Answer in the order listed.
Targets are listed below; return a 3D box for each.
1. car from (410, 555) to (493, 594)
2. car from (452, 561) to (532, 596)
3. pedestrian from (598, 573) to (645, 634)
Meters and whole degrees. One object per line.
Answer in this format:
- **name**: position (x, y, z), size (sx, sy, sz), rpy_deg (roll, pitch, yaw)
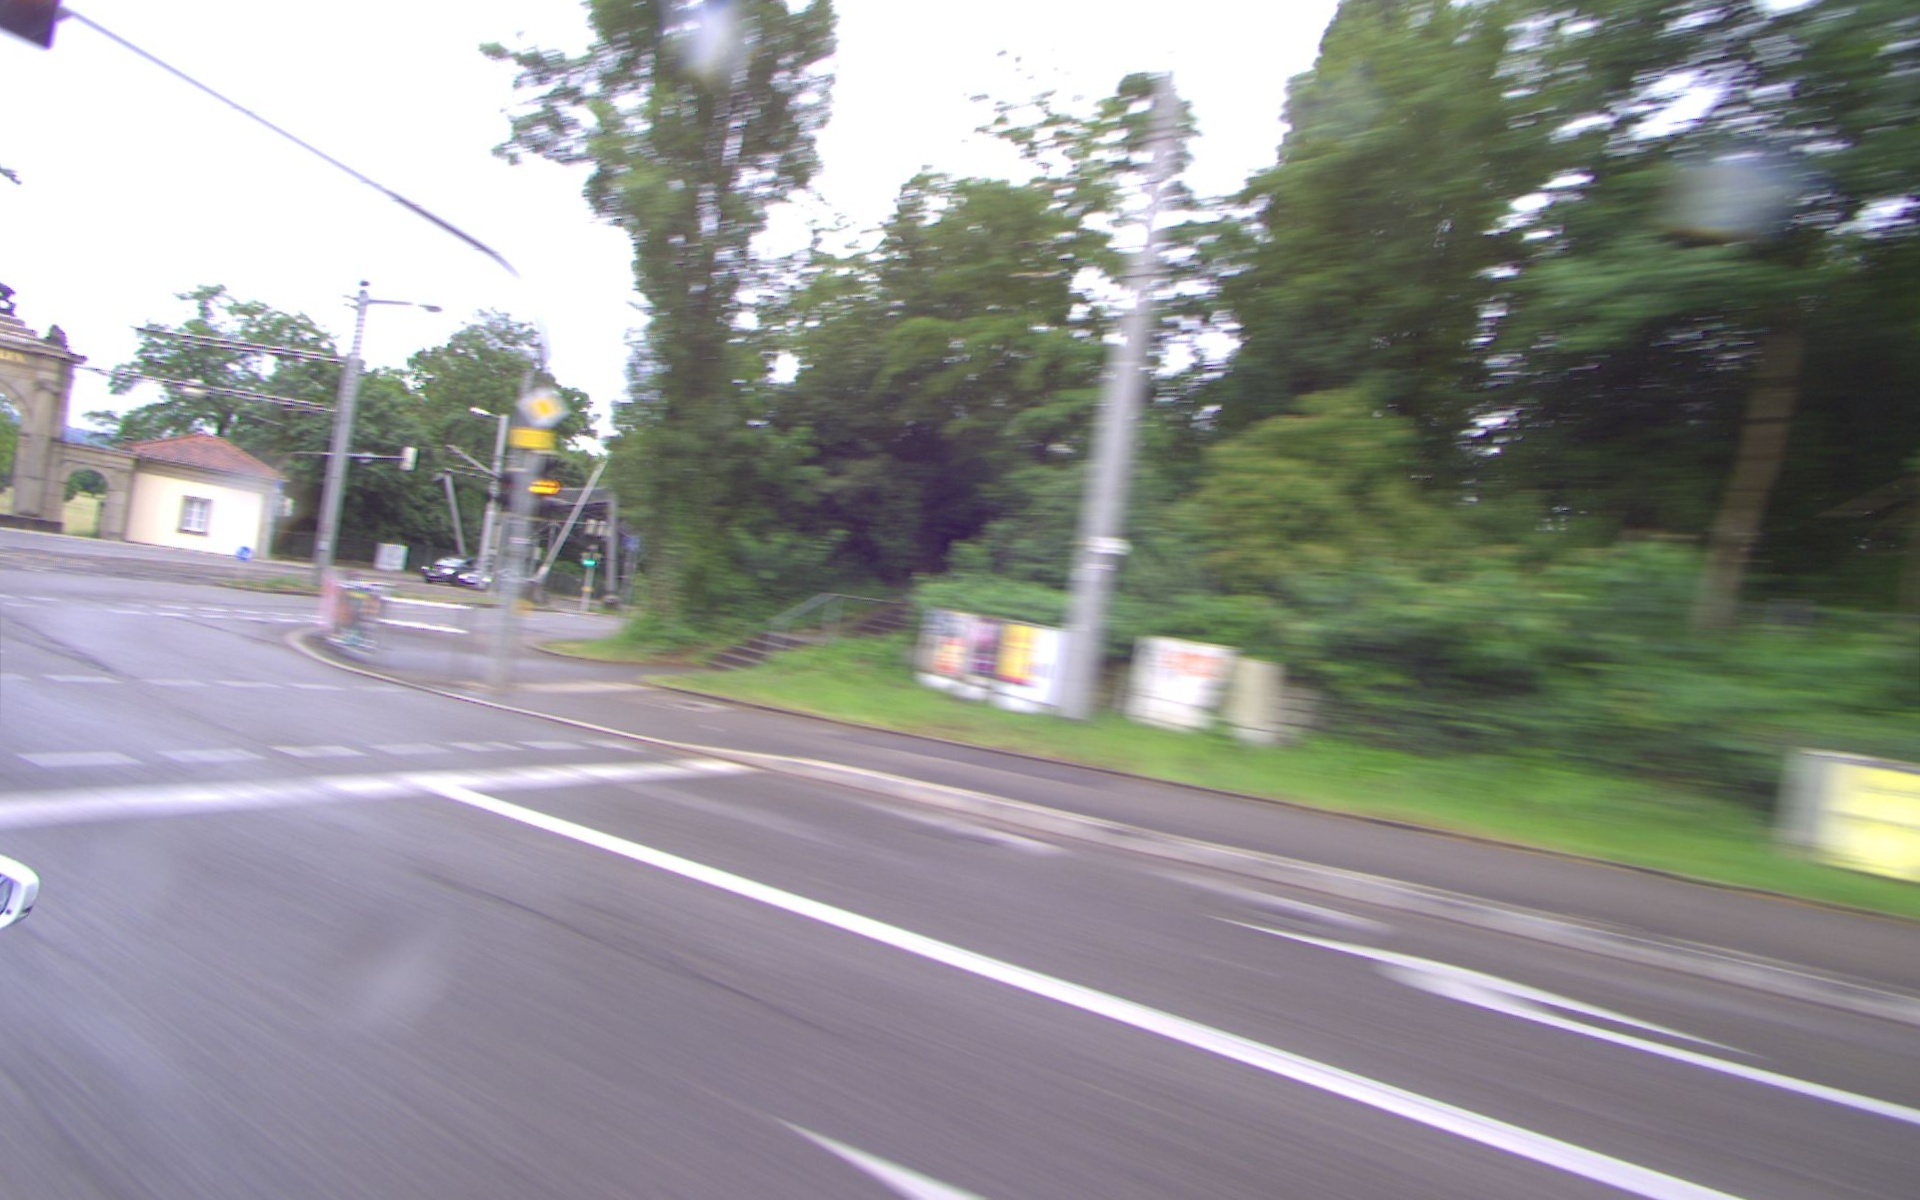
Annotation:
- **car**: position (-28.849, -1.402, 57.250), size (1.962, 1.755, 4.267), rpy_deg (5, -2, 8)
- **car**: position (-26.162, -1.180, 56.397), size (1.962, 1.472, 4.267), rpy_deg (5, -2, 8)
- **pedestrian**: position (-9.539, 0.108, 28.351), size (0.795, 1.573, 0.655), rpy_deg (10, 0, 14)
